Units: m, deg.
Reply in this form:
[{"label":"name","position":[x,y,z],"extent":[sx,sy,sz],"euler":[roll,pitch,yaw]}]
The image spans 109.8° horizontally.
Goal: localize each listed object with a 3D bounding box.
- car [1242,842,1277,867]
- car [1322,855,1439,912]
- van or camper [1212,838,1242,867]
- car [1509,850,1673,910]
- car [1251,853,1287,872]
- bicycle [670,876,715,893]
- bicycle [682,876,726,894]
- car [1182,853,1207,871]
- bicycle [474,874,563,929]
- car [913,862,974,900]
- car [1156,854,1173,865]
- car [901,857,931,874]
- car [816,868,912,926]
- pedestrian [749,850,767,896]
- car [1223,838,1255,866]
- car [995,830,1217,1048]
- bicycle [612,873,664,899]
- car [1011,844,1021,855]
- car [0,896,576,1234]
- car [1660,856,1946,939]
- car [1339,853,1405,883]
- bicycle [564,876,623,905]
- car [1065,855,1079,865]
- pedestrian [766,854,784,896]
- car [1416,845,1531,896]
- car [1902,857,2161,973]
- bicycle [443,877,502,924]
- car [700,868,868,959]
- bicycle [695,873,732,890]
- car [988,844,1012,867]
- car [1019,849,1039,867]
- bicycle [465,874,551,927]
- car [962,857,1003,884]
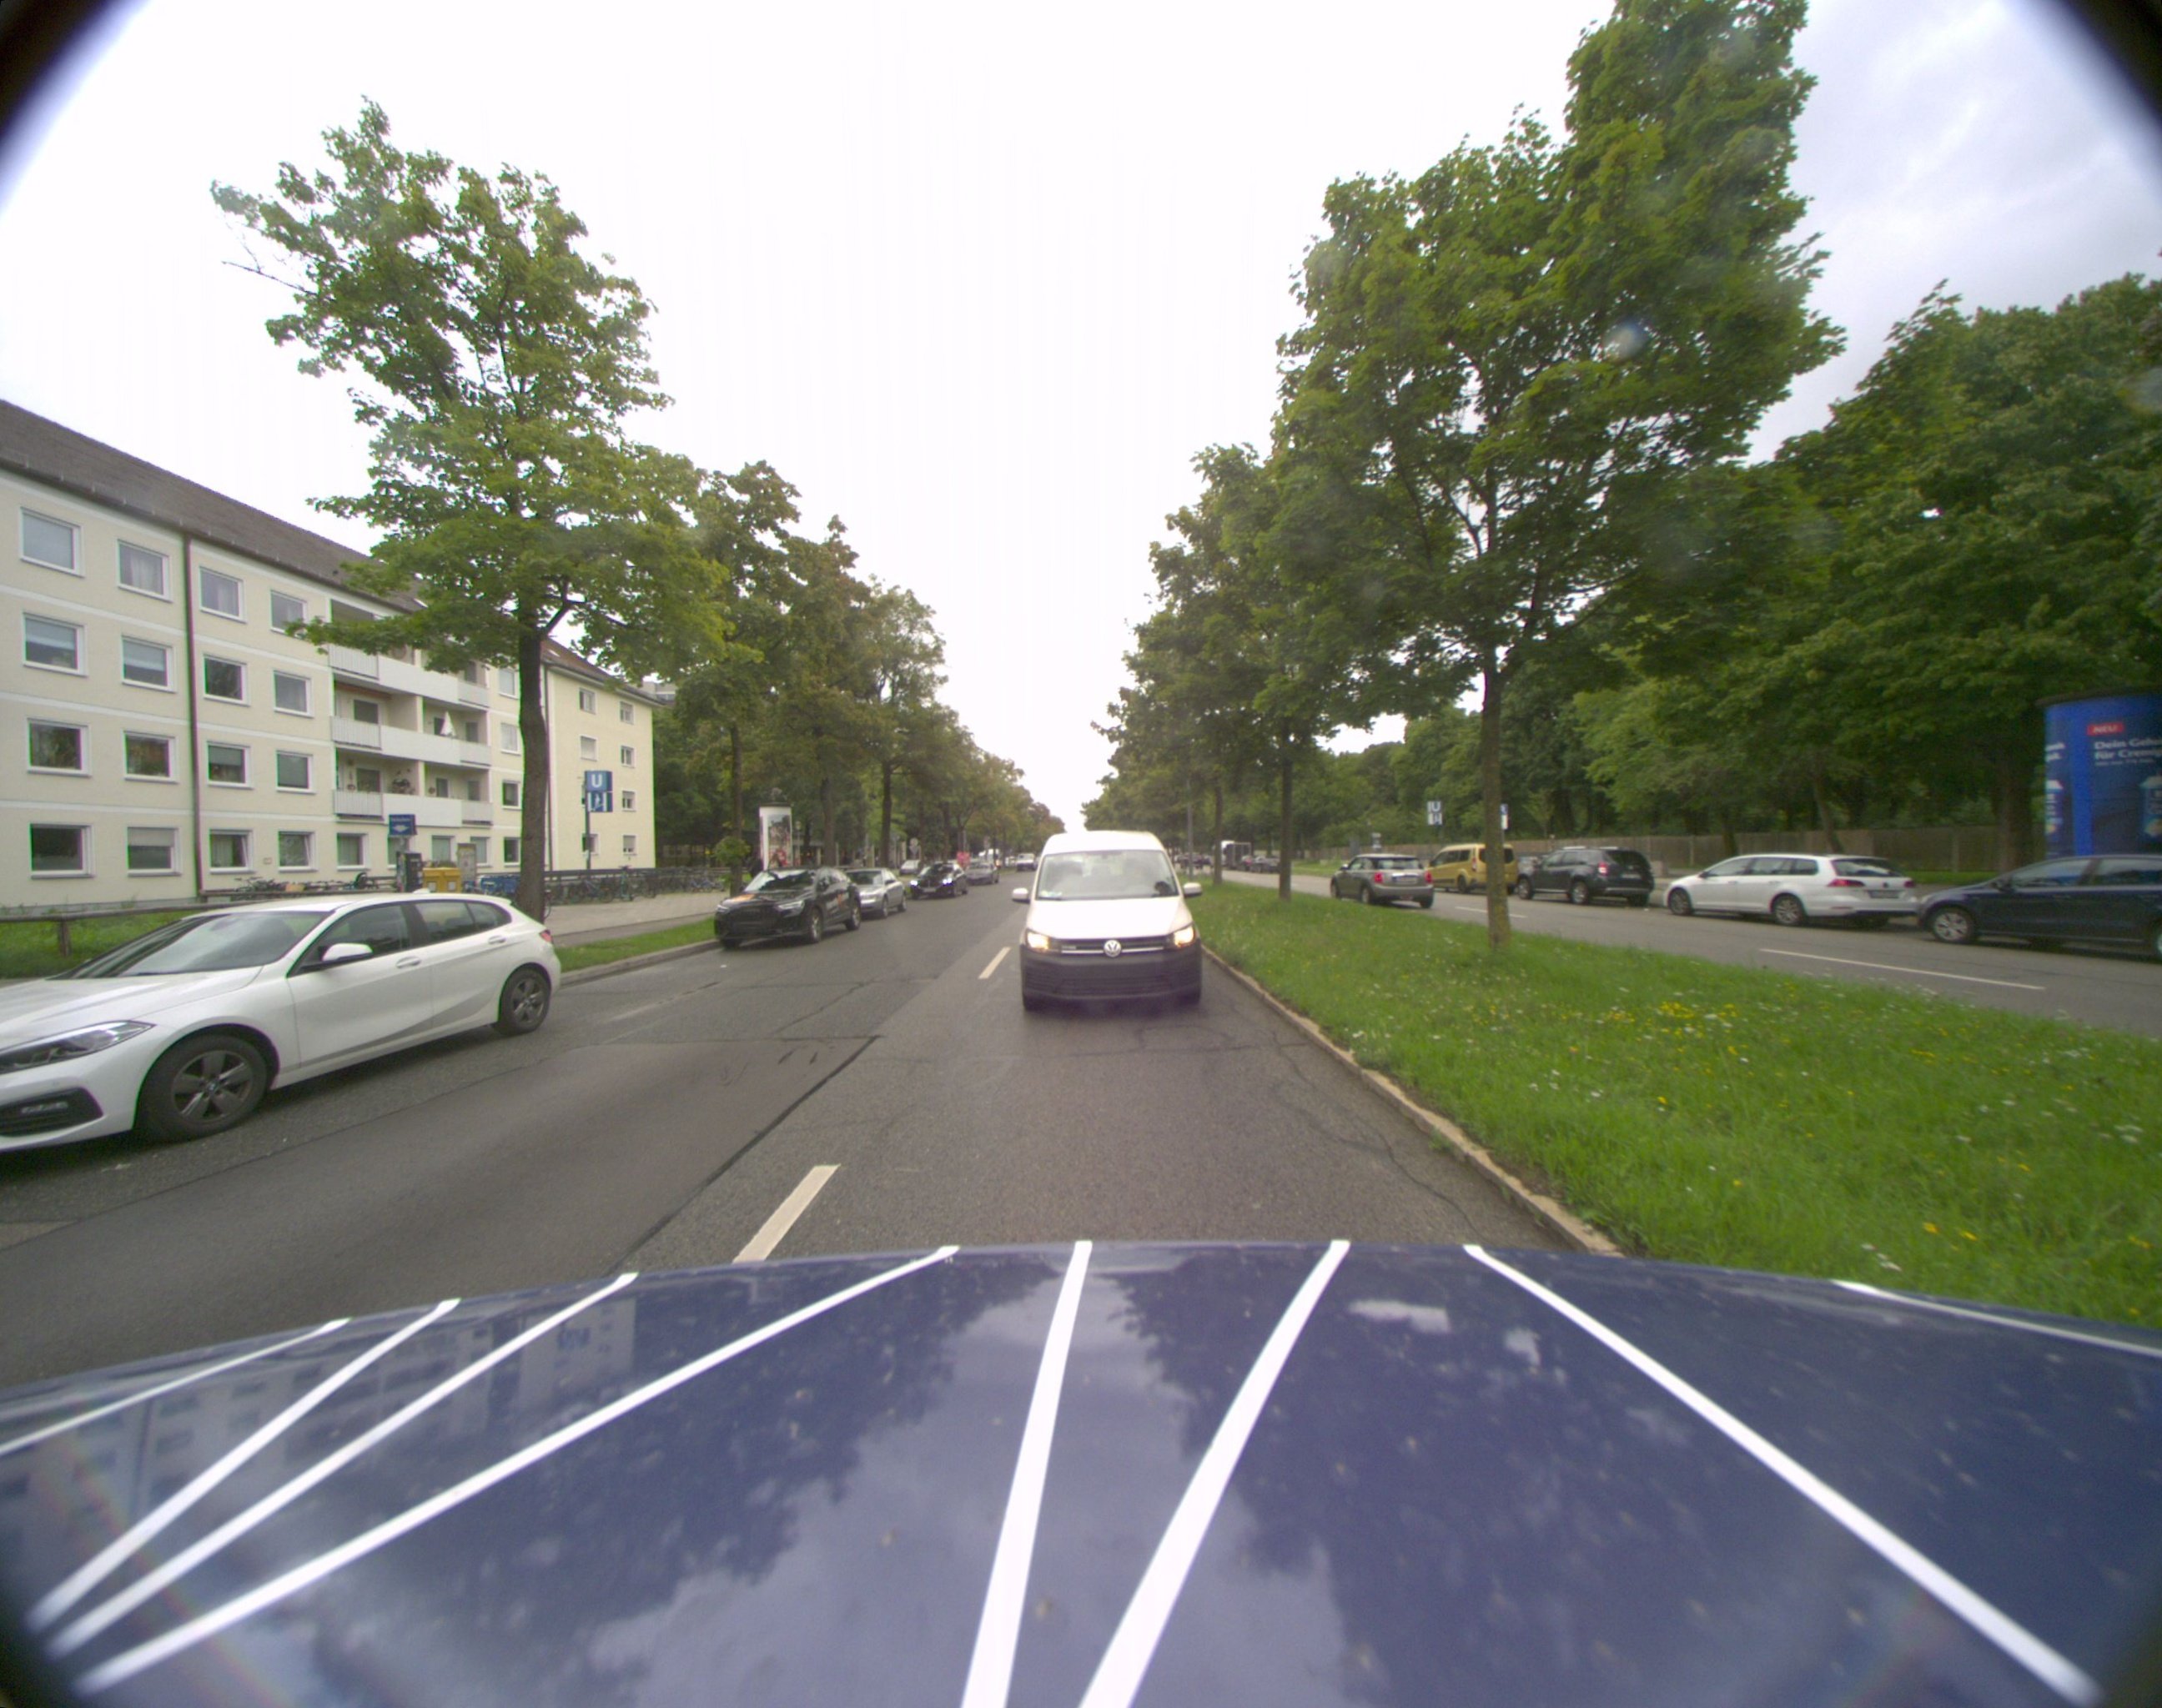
[{"label":"car","position":[15.161,0.046,64.863],"extent":[1.998,2.002,3.999],"euler":[-2,0,0]},{"label":"car","position":[8.082,0.735,20.868],"extent":[1.722,1.374,3.767],"euler":[1,0,0]},{"label":"van or camper","position":[14.840,-0.174,77.472],"extent":[1.999,2.791,4.931],"euler":[0,0,-2]},{"label":"car","position":[14.783,0.682,22.330],"extent":[2.007,1.607,4.040],"euler":[0,0,-2]},{"label":"car","position":[14.828,0.661,60.091],"extent":[1.717,1.401,4.040],"euler":[0,0,-2]},{"label":"bicycle","position":[-16.232,1.267,31.758],"extent":[1.599,0.634,0.498],"euler":[1,0,-4]},{"label":"bicycle","position":[-16.177,1.318,32.628],"extent":[1.599,0.691,0.498],"euler":[-1,1,-4]},{"label":"car","position":[11.595,0.796,77.870],"extent":[1.866,1.659,4.500],"euler":[1,0,0]},{"label":"bicycle","position":[-13.650,1.126,18.520],"extent":[0.545,1.182,2.076],"euler":[-1,0,1]},{"label":"car","position":[-5.739,1.100,32.239],"extent":[1.827,1.371,4.300],"euler":[-2,0,-1]},{"label":"car","position":[11.644,0.700,105.893],"extent":[1.866,1.447,4.500],"euler":[1,0,0]},{"label":"car","position":[-15.834,1.083,72.934],"extent":[1.827,1.460,4.300],"euler":[-2,0,1]},{"label":"car","position":[-6.069,1.145,21.692],"extent":[1.617,1.371,3.926],"euler":[-2,0,-1]},{"label":"pedestrian","position":[-12.500,0.730,29.424],"extent":[0.560,1.745,0.656],"euler":[-2,1,-19]},{"label":"car","position":[15.007,-0.215,72.253],"extent":[1.999,2.576,4.499],"euler":[0,0,-2]},{"label":"car","position":[0.218,0.705,8.669],"extent":[1.772,1.742,4.545],"euler":[-3,0,0]},{"label":"bicycle","position":[-16.399,1.185,28.141],"extent":[1.599,0.910,0.498],"euler":[0,1,-4]},{"label":"car","position":[-15.733,-1.089,182.847],"extent":[1.999,2.440,4.999],"euler":[-2,0,-1]},{"label":"car","position":[-6.317,1.222,5.882],"extent":[1.826,1.428,4.287],"euler":[-3,0,1]},{"label":"car","position":[14.716,0.788,15.907],"extent":[1.826,1.461,4.300],"euler":[0,0,-2]},{"label":"car","position":[14.872,0.680,39.032],"extent":[1.717,1.434,4.040],"euler":[0,0,-2]},{"label":"bicycle","position":[-16.449,1.234,25.636],"extent":[1.599,0.910,0.498],"euler":[-2,1,-4]},{"label":"car","position":[-1.424,0.941,119.773],"extent":[1.984,1.591,4.402],"euler":[1,0,1]},{"label":"pedestrian","position":[-11.911,0.805,29.607],"extent":[0.560,1.595,0.519],"euler":[-2,1,-19]},{"label":"car","position":[14.515,0.558,28.432],"extent":[1.862,1.761,4.533],"euler":[0,0,-2]},{"label":"car","position":[14.571,0.801,10.700],"extent":[1.826,1.438,3.787],"euler":[1,0,-2]},{"label":"bicycle","position":[-15.771,1.190,19.734],"extent":[0.466,1.110,1.253],"euler":[-2,1,1]},{"label":"car","position":[-5.998,1.120,15.932],"extent":[1.826,1.502,4.157],"euler":[-2,0,0]},{"label":"bicycle","position":[-16.086,1.202,33.281],"extent":[1.392,0.709,0.498],"euler":[1,1,-4]},{"label":"car","position":[-9.347,0.119,88.236],"extent":[1.998,2.440,4.999],"euler":[-2,1,1]},{"label":"car","position":[-5.702,0.395,84.084],"extent":[1.827,1.939,4.300],"euler":[-2,0,1]},{"label":"bicycle","position":[-14.551,1.151,19.383],"extent":[0.545,1.182,2.076],"euler":[-1,0,1]},{"label":"car","position":[-5.938,0.973,46.132],"extent":[1.827,1.460,4.300],"euler":[-2,0,1]}]
